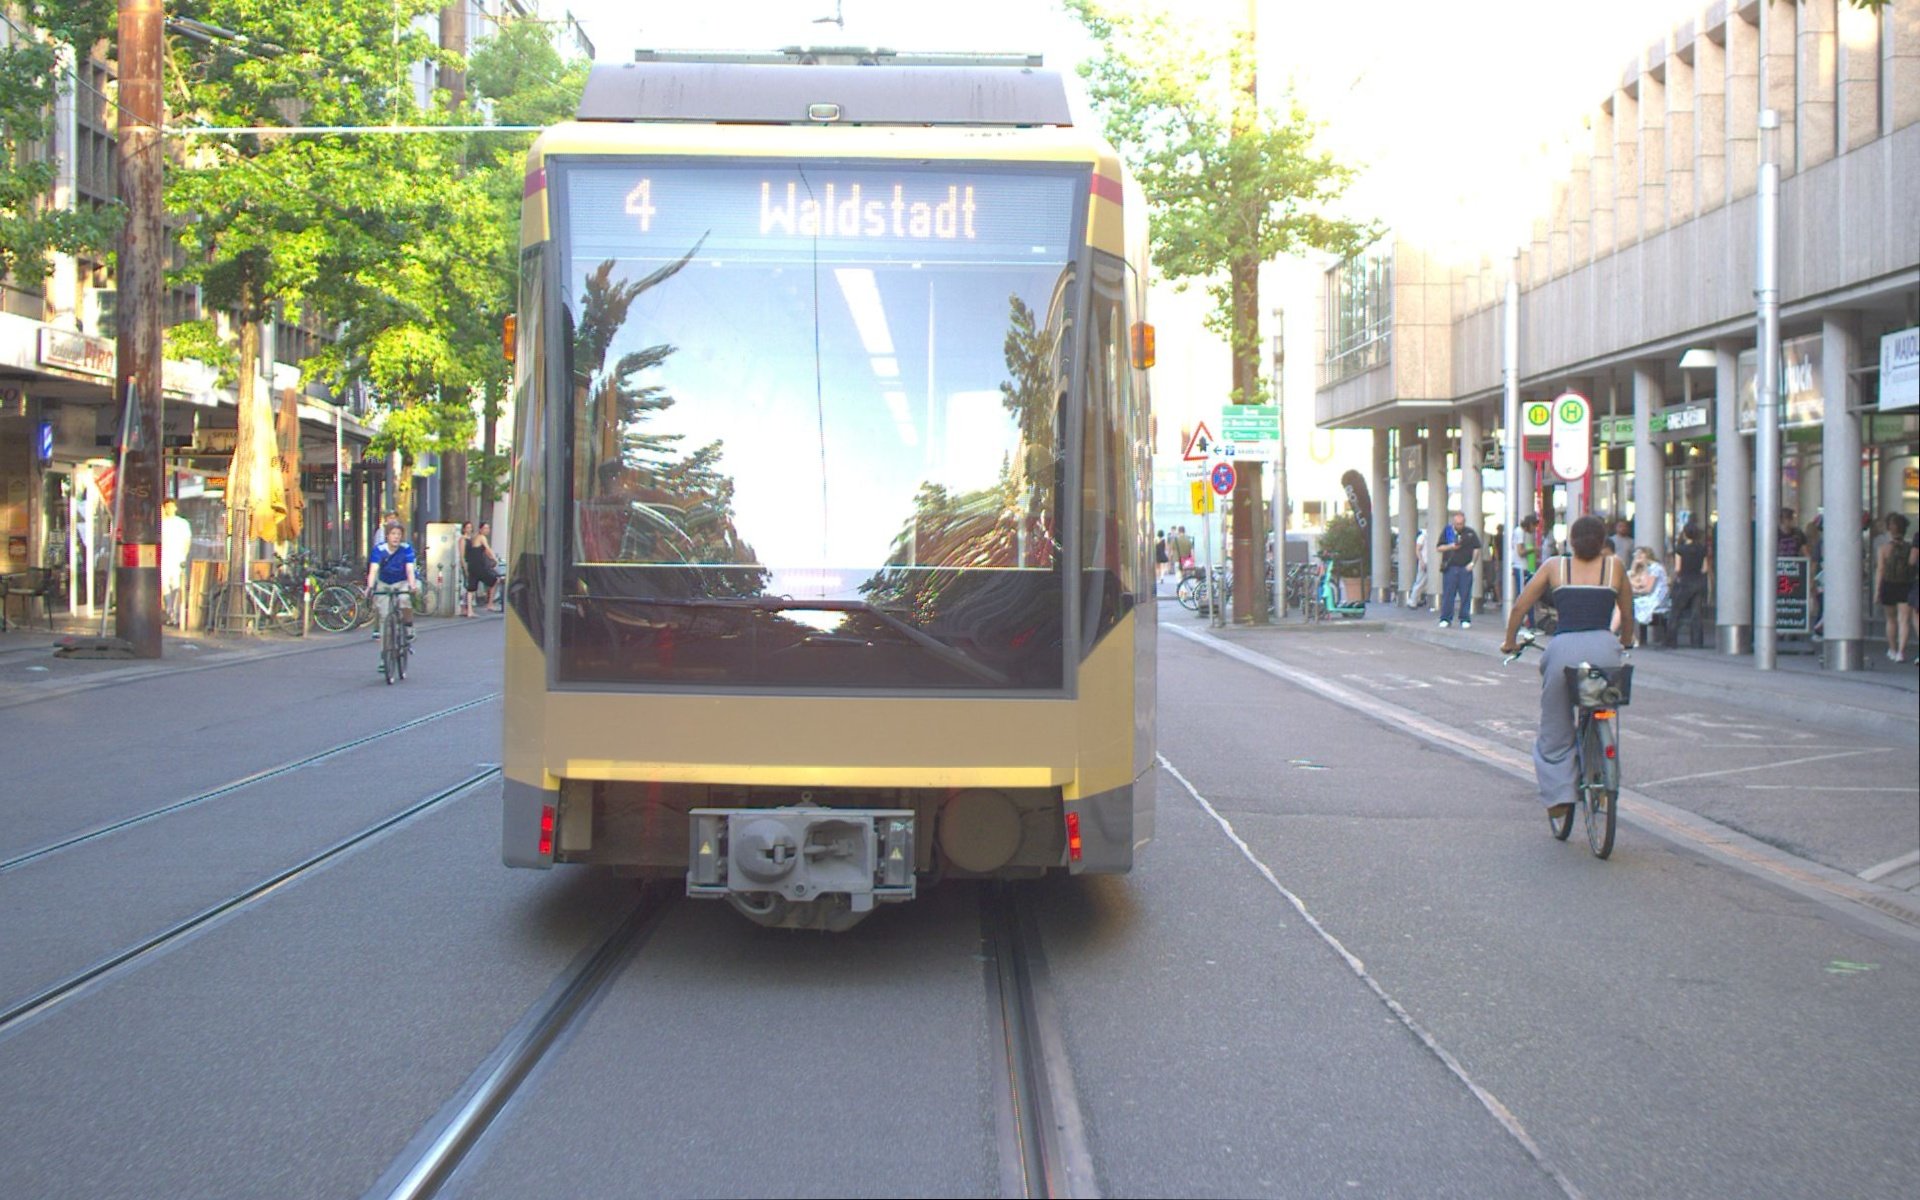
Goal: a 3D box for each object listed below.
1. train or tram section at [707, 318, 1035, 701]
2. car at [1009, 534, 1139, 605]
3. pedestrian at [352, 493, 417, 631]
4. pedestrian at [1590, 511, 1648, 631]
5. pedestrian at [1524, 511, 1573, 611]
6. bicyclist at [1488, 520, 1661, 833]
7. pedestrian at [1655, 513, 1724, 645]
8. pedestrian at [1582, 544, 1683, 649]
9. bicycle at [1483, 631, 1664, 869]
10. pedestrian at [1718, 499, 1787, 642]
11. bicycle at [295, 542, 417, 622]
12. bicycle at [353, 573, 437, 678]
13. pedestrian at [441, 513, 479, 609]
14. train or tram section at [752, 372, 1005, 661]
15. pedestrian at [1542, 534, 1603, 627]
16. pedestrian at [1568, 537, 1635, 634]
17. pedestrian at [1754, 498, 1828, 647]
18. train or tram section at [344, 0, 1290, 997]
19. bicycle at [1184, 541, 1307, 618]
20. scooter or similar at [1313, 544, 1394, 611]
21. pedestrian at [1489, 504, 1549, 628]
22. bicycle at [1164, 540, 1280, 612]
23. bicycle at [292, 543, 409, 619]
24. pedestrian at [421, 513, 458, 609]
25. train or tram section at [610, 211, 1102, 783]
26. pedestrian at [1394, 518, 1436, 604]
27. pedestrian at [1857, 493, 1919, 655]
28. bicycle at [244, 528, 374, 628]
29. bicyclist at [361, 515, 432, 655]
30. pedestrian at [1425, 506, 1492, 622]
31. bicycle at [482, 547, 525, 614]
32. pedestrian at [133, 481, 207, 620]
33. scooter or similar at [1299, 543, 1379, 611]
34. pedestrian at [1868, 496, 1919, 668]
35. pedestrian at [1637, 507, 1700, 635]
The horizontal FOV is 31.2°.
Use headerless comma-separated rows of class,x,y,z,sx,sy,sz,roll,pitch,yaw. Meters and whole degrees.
train or tram section,-0.923,-0.931,37.210,3.003,3.511,10.846,1,1,-1
car,2.683,-0.705,79.964,1.644,1.588,3.914,1,0,24
pedestrian,-7.971,-0.527,47.605,0.750,1.873,0.576,3,0,-4
pedestrian,10.307,-0.461,53.800,0.701,1.833,0.829,-2,2,0
pedestrian,10.169,-0.678,59.435,0.701,1.678,0.680,-2,2,0
bicyclist,3.091,0.374,17.349,0.726,1.521,0.733,2,0,4
pedestrian,9.217,-0.267,43.426,0.701,1.632,0.646,-2,2,0
pedestrian,8.777,-0.053,44.871,1.112,1.323,0.926,-2,1,1
bicycle,3.085,0.727,17.451,0.656,1.057,2.057,2,1,4
pedestrian,10.331,-0.394,44.850,0.701,1.833,0.706,-2,2,0
bicycle,-9.175,-0.274,52.229,1.733,1.122,0.613,3,0,-6
bicycle,-5.794,0.250,35.338,0.641,1.019,1.589,2,1,-3
pedestrian,-8.891,-0.692,61.127,0.551,1.681,0.576,3,0,-4
train or tram section,-1.104,-1.129,47.900,3.044,3.511,10.532,1,1,-1
pedestrian,8.984,-0.287,50.443,0.739,1.323,0.720,-2,2,1
pedestrian,9.074,-0.209,48.637,0.806,1.323,0.626,-2,2,1
pedestrian,10.457,-0.357,43.268,0.701,1.833,0.829,-2,2,0
train or tram section,-0.549,-0.562,16.204,3.016,3.511,10.371,0,1,-1
bicycle,5.663,-0.406,68.215,2.328,1.466,0.791,1,0,-4
scooter or similar,7.187,-0.417,62.778,1.379,1.206,0.516,-1,0,-14
pedestrian,8.163,-0.494,50.198,0.749,1.775,0.891,1,0,3
bicycle,5.505,-0.501,72.306,2.328,1.466,0.791,1,0,-4
bicycle,-9.687,-0.300,54.659,1.733,1.122,0.563,3,0,-4
pedestrian,-9.350,-0.699,61.772,0.573,1.681,0.553,3,0,-10
train or tram section,-0.741,-0.728,26.587,3.007,3.511,10.403,1,1,-1
pedestrian,9.011,-0.776,68.047,0.701,1.678,0.680,-2,2,0
pedestrian,10.804,-0.309,39.766,0.596,1.833,0.829,-2,2,0
bicycle,-9.556,-0.323,50.471,1.796,1.355,0.660,3,0,-12
bicyclist,-5.788,-0.156,35.340,0.620,1.411,0.700,1,0,-3
pedestrian,7.736,-0.557,53.403,0.888,1.775,0.752,1,0,-2
bicycle,-8.057,-0.342,60.696,0.611,1.122,2.252,3,0,-5
pedestrian,-11.574,-0.720,50.371,0.849,2.007,0.921,1,0,0
scooter or similar,7.016,-0.432,63.670,1.379,1.246,0.557,-1,0,-8
pedestrian,10.797,-0.217,38.348,1.053,1.870,0.929,-2,2,0
pedestrian,10.329,-0.431,50.132,0.701,1.833,0.829,-2,2,0
